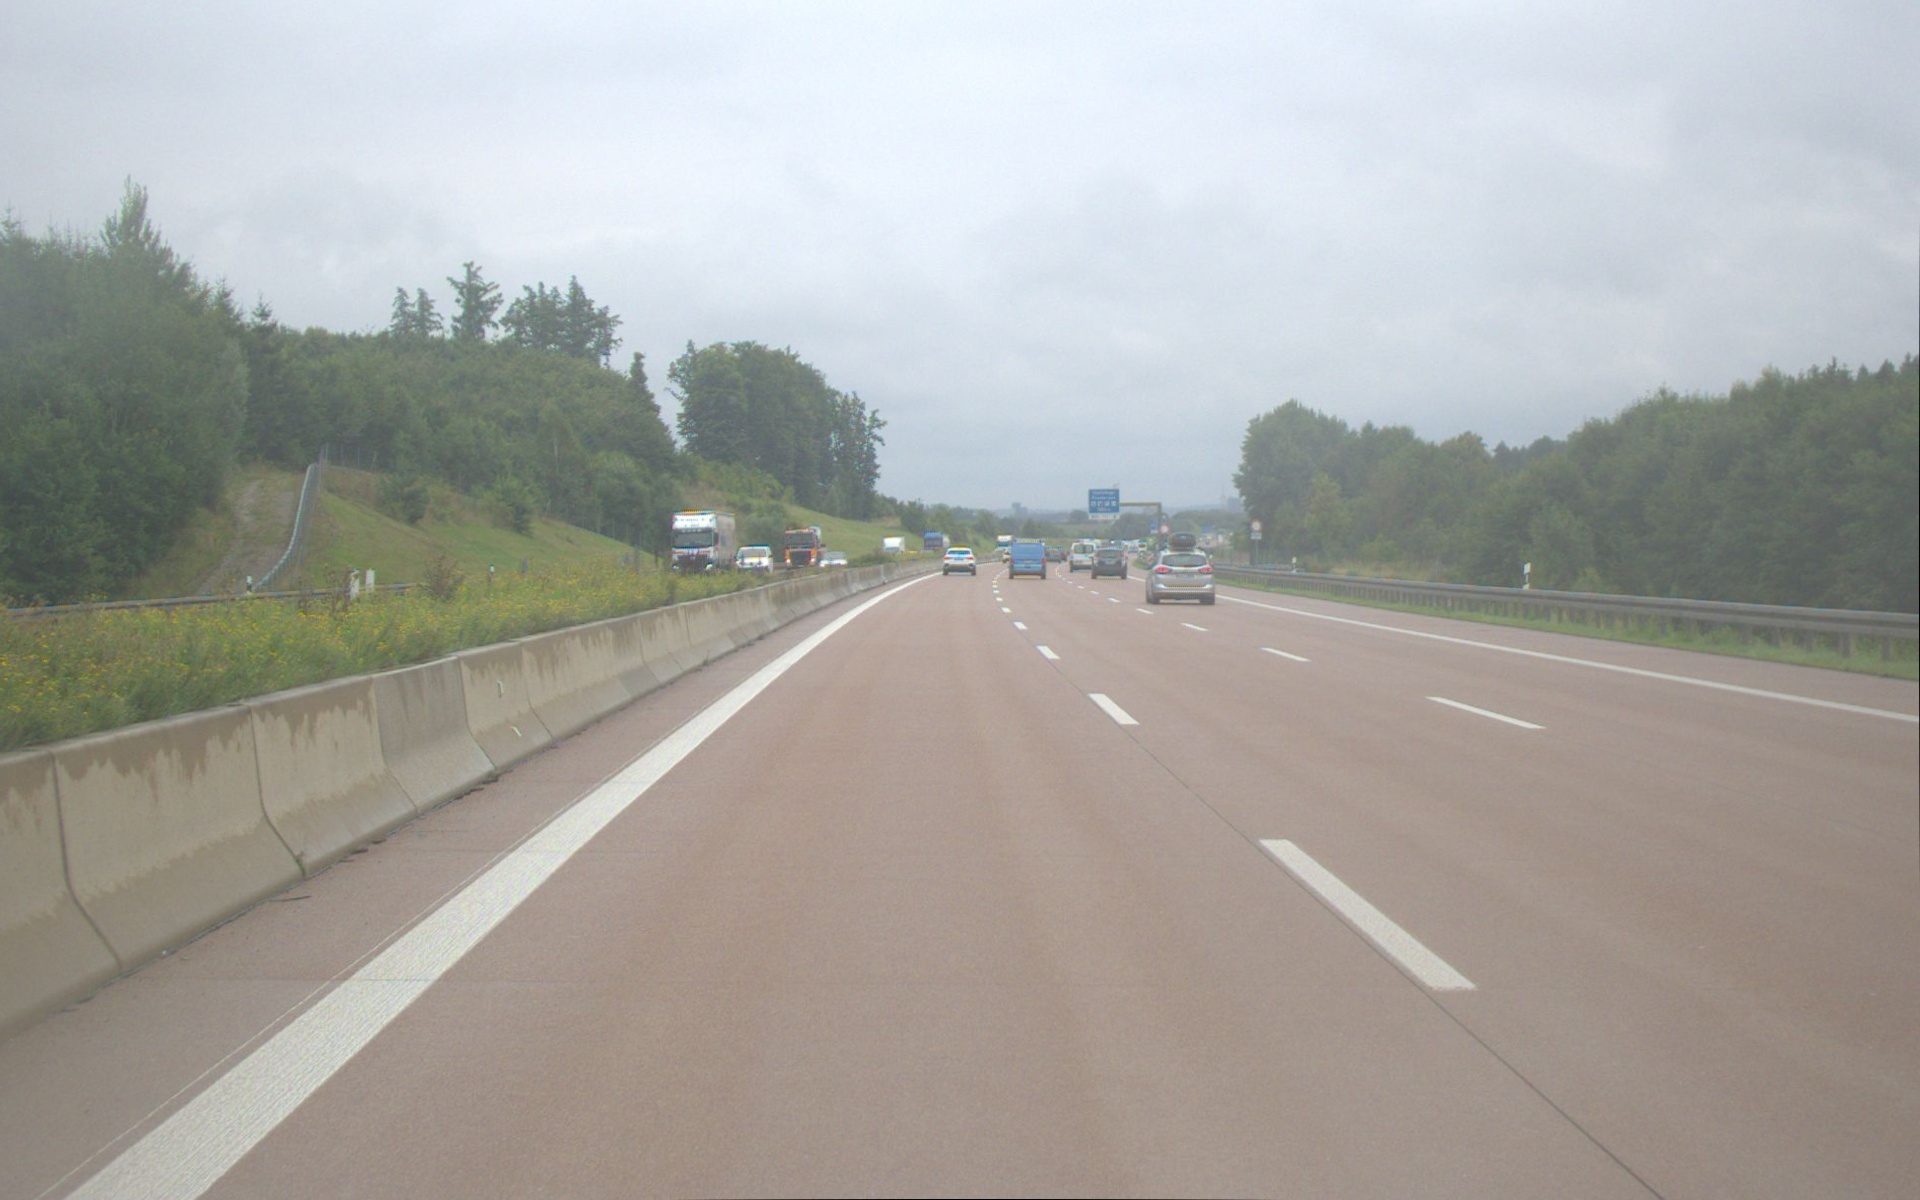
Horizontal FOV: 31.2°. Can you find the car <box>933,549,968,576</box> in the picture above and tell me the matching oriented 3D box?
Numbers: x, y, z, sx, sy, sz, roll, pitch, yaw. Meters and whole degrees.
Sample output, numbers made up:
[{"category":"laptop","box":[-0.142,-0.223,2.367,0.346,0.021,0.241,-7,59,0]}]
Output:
[{"category":"car","box":[-0.544,-2.106,193.568,1.874,1.439,4.877,1,0,-1]}]

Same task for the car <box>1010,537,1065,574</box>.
[{"category":"car","box":[3.928,-2.233,174.302,2.322,1.744,4.877,1,0,-4]}]

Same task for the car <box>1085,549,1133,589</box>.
[{"category":"car","box":[7.741,-1.614,178.413,1.993,2.007,4.000,1,0,-4]}]

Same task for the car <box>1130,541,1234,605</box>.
[{"category":"car","box":[6.355,-0.748,98.765,2.322,1.744,4.877,1,0,-4]}]
